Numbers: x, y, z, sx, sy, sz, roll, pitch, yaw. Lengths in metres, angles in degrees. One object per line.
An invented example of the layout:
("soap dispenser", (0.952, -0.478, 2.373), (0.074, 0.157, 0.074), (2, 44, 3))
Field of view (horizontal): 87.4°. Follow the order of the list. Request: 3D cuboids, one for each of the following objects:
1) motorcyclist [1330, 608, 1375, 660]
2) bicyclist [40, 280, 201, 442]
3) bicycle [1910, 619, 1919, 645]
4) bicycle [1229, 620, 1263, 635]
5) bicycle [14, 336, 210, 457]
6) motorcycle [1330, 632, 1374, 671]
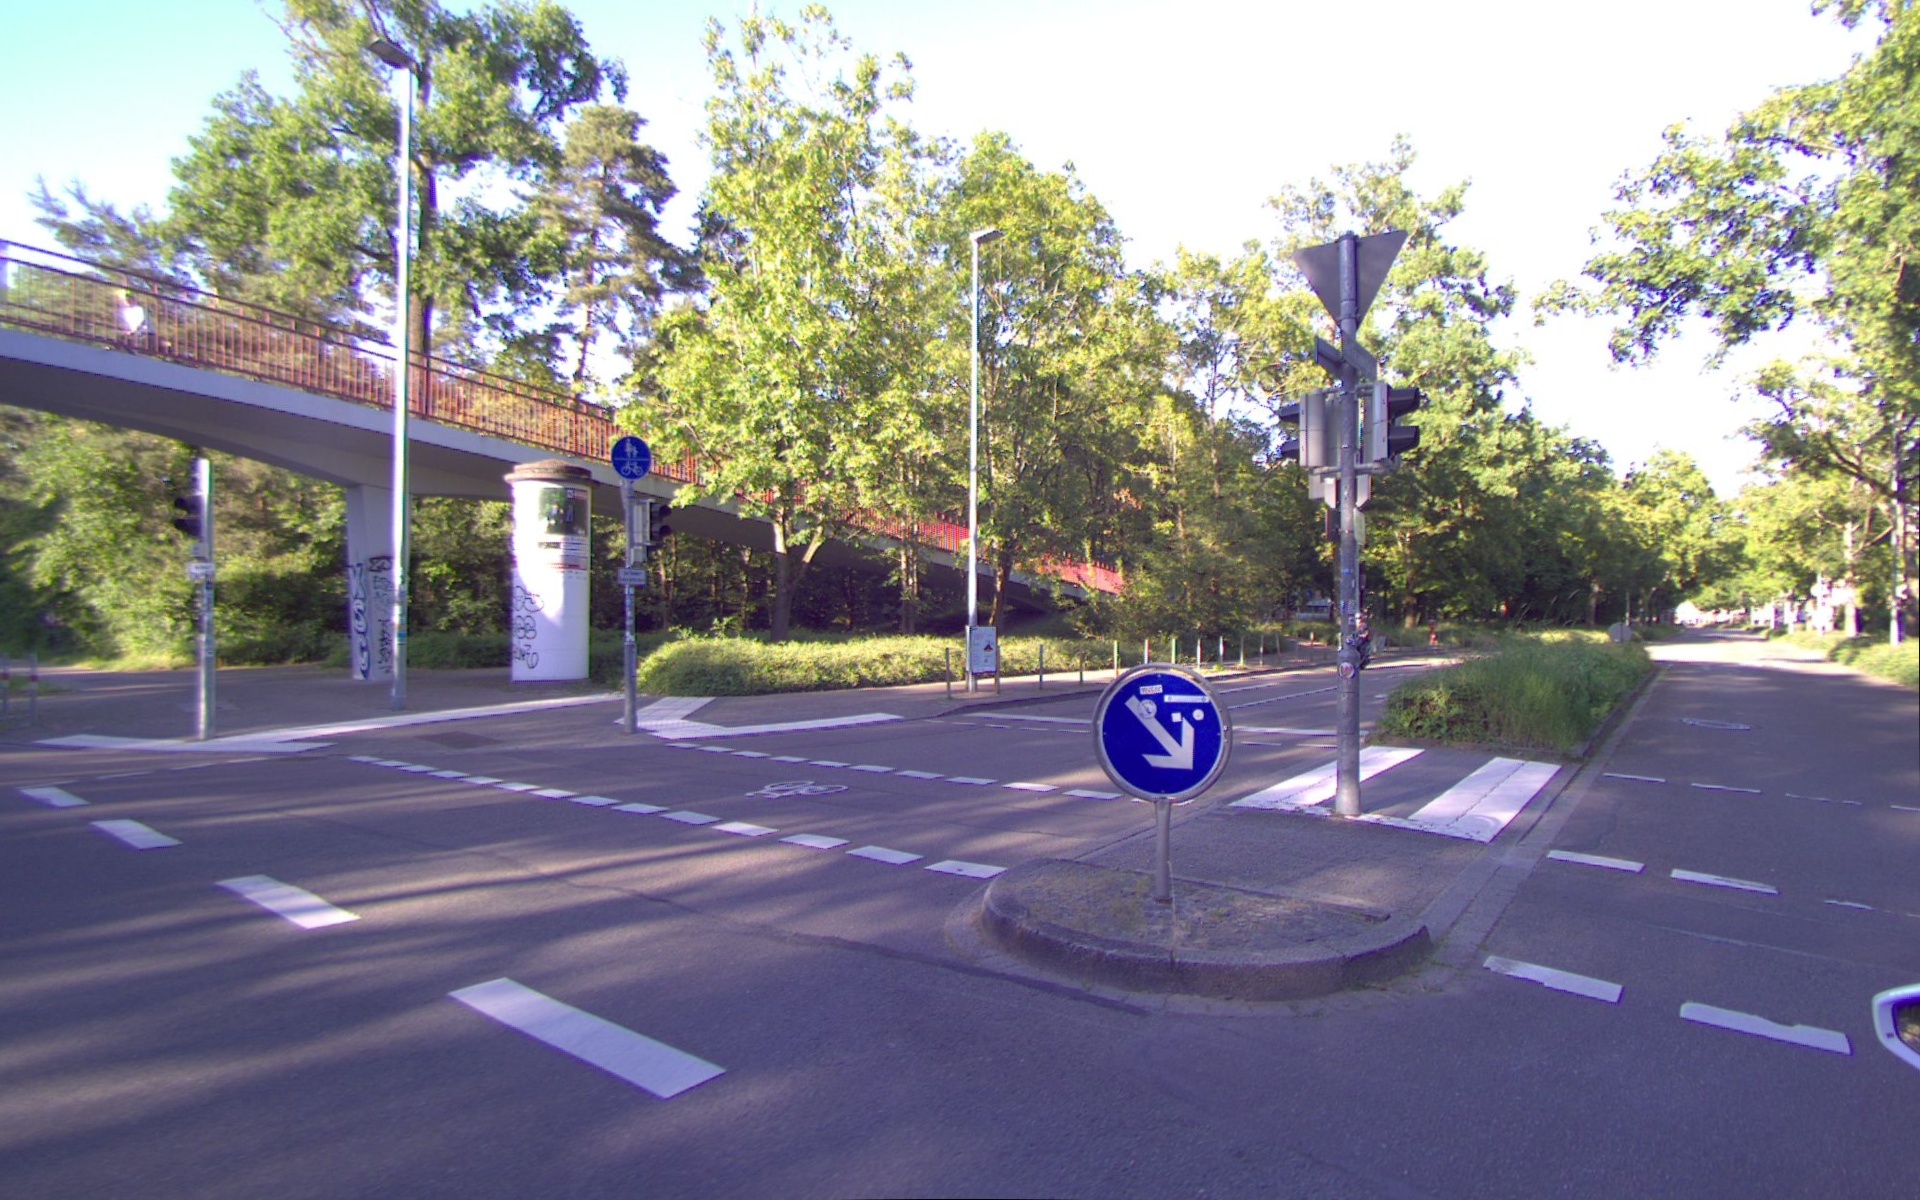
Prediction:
("motorcyclist", (11.550, 0.980, 29.582), (0.937, 1.490, 1.065), (-1, -1, 40))
("bicyclist", (-15.287, -4.287, 18.325), (1.390, 2.194, 1.679), (-1, -11, 39))
("bicycle", (47.355, 1.539, 48.927), (2.297, 1.216, 0.880), (-1, -2, -28))
("bicycle", (20.600, 1.972, 72.393), (2.388, 1.086, 0.535), (1, 2, -14))
("bicycle", (-15.296, -3.610, 18.189), (1.036, 1.389, 2.439), (-1, -8, 40))
("motorcycle", (11.499, 1.493, 29.452), (0.516, 1.083, 2.277), (-1, -1, 39))
